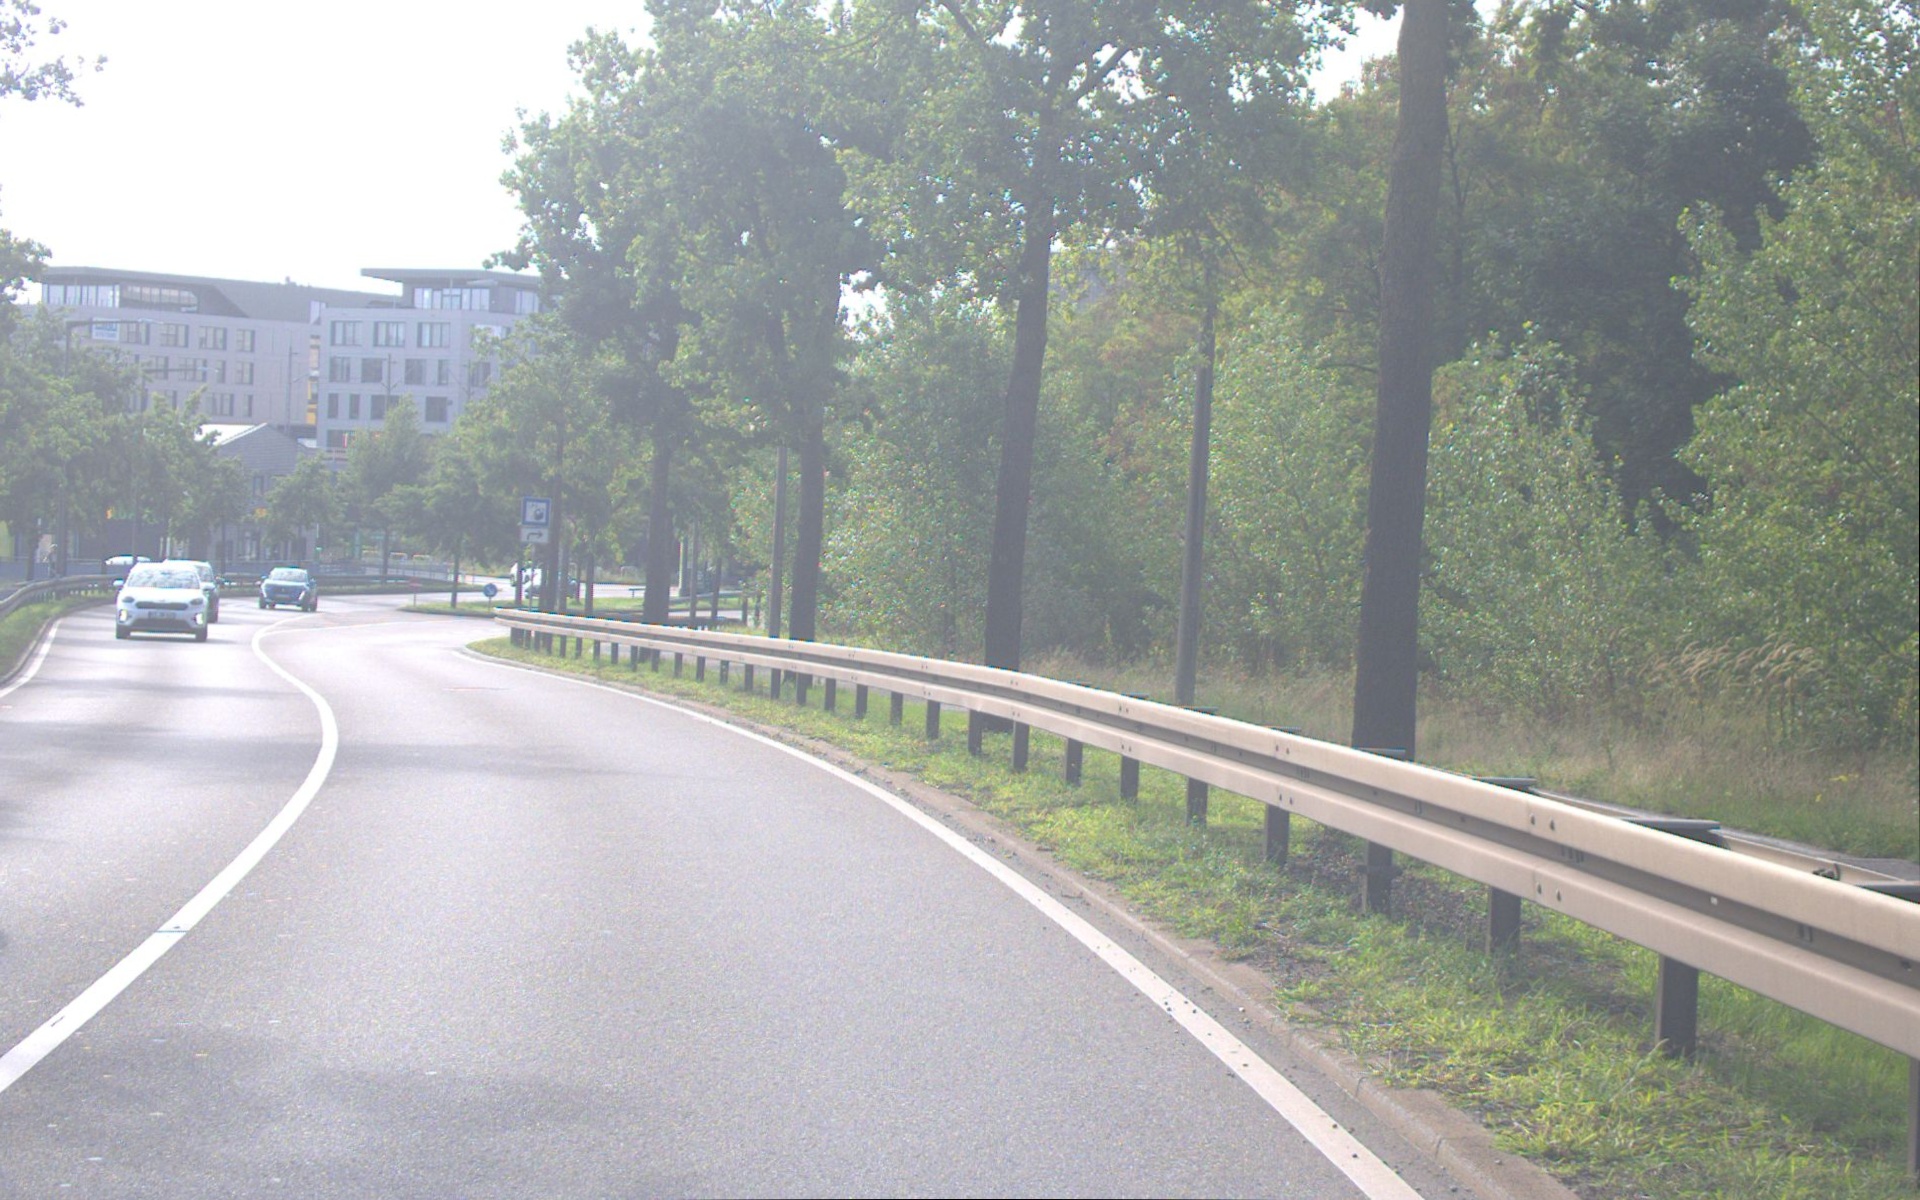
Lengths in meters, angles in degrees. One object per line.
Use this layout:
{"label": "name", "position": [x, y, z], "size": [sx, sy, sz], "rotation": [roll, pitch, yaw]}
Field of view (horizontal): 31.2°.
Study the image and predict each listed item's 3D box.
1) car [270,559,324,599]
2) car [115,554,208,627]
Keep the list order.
{"label": "car", "position": [-24.473, -0.794, 127.014], "size": [1.567, 1.421, 3.591], "rotation": [1, 1, -5]}
{"label": "car", "position": [-16.287, -0.208, 70.242], "size": [1.567, 1.421, 3.592], "rotation": [1, 1, -9]}
